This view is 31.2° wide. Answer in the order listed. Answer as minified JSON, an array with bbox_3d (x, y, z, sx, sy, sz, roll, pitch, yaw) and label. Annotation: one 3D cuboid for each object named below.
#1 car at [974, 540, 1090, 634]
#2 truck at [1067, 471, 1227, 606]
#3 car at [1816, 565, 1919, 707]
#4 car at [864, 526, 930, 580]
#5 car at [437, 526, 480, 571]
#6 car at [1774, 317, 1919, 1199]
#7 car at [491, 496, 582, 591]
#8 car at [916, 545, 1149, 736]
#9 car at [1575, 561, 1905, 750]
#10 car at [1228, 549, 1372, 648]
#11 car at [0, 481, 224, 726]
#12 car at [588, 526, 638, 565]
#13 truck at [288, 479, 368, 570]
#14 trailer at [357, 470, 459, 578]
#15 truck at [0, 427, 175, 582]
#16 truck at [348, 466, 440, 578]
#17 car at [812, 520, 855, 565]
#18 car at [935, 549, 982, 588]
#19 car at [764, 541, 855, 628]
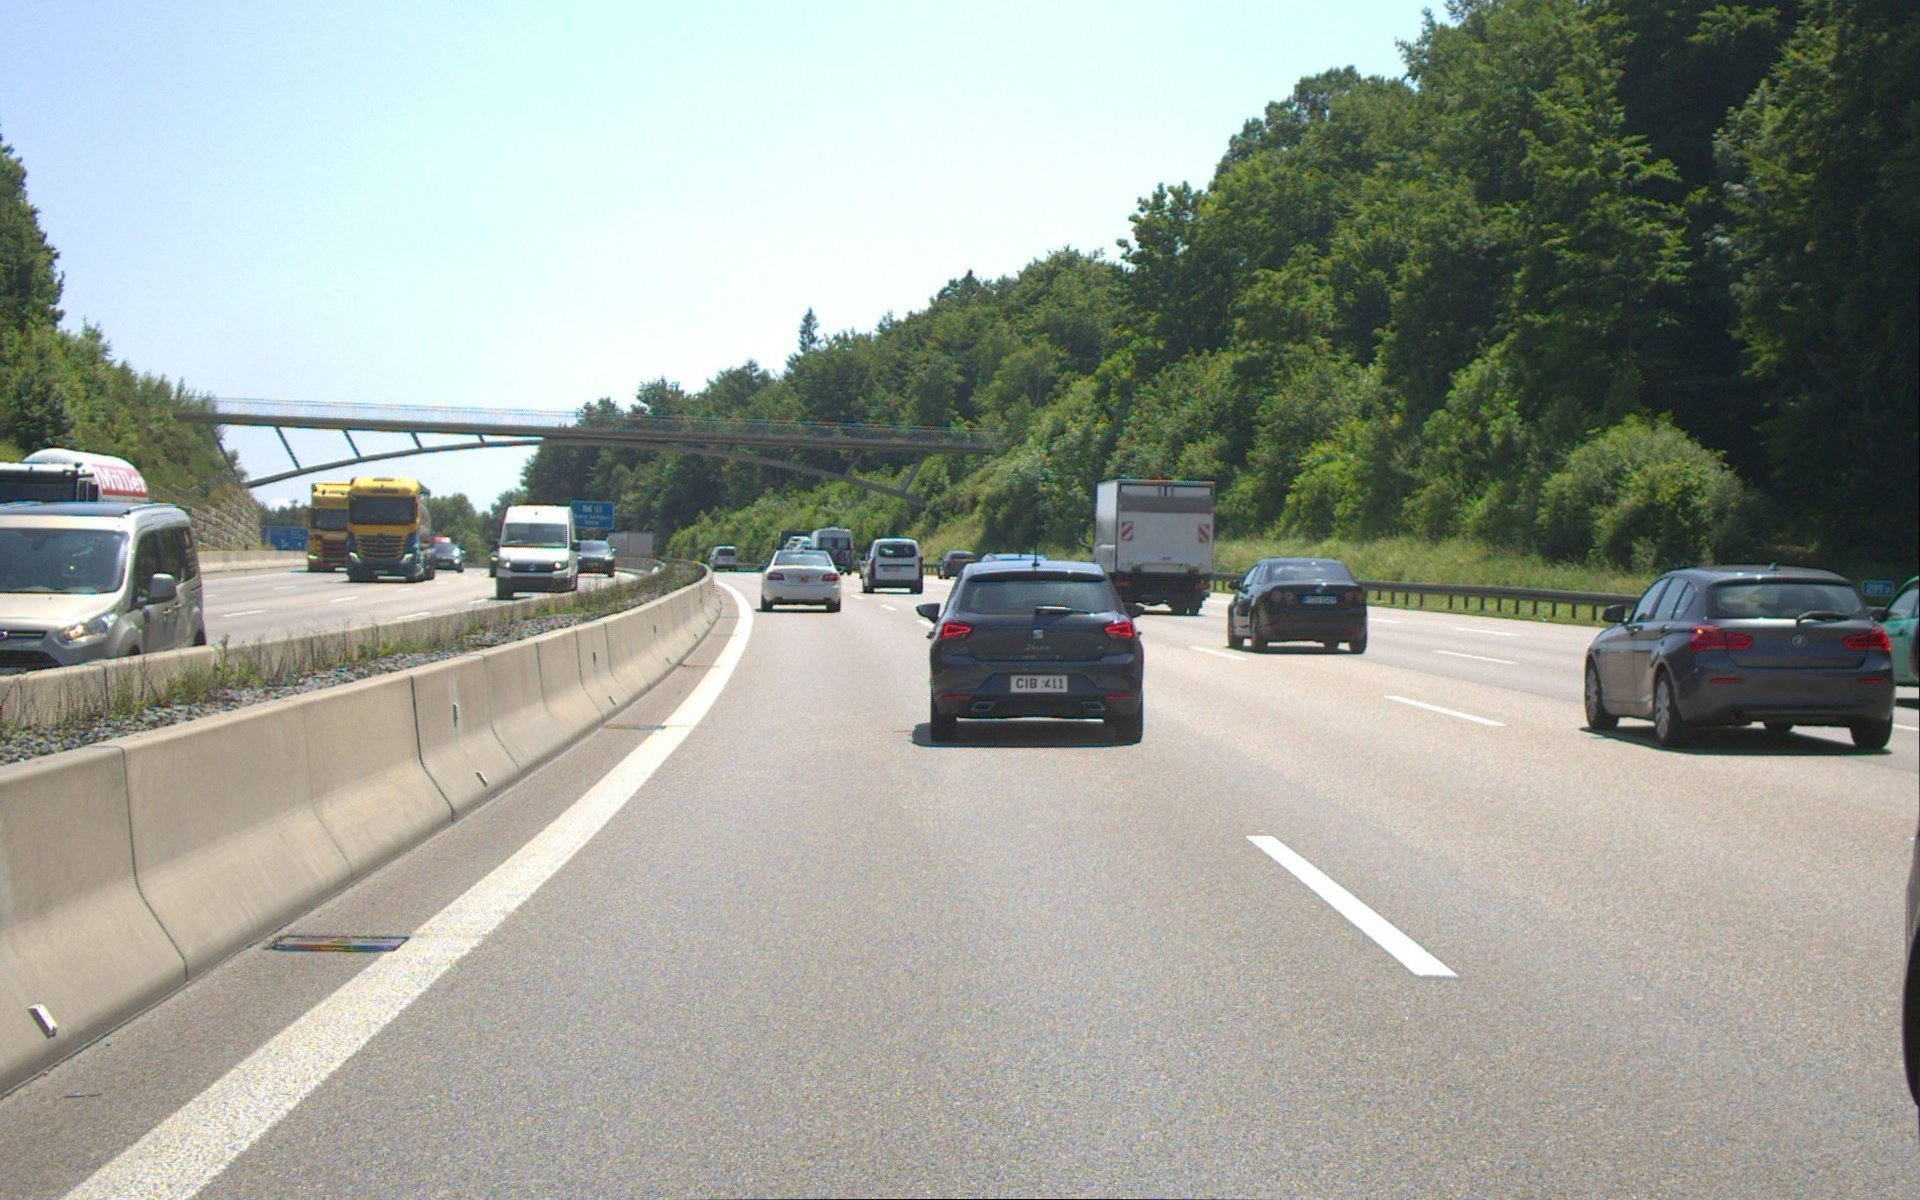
[{"bbox_3d":[1.369,-0.225,66.984,1.993,1.722,4.149,1,-1,-2],"label":"car"},{"bbox_3d":[4.569,-1.539,85.592,2.985,3.156,7.576,1,1,-4],"label":"truck"},{"bbox_3d":[10.480,0.382,36.388,1.544,1.439,4.341,2,0,-2],"label":"car"},{"bbox_3d":[-2.110,-1.585,114.490,2.103,1.738,4.688,1,1,-1],"label":"car"},{"bbox_3d":[-24.648,-2.518,168.972,1.643,2.007,4.000,2,-1,-3],"label":"car"},{"bbox_3d":[3.004,0.459,5.703,1.962,2.026,5.084,1,1,-1],"label":"car"},{"bbox_3d":[-11.413,-1.519,92.957,2.154,2.481,4.703,1,1,-4],"label":"car"},{"bbox_3d":[0.533,0.284,28.478,1.708,1.428,4.000,1,1,-1],"label":"car"},{"bbox_3d":[6.267,0.397,28.048,1.702,1.391,4.154,1,1,0],"label":"car"},{"bbox_3d":[5.222,-0.057,53.300,1.665,1.403,4.903,1,1,-1],"label":"car"},{"bbox_3d":[-7.468,-0.016,28.604,1.819,1.865,4.589,1,1,-2],"label":"car"},{"bbox_3d":[-15.606,-2.455,154.789,1.993,1.699,4.954,1,1,-3],"label":"car"},{"bbox_3d":[-28.807,-3.424,156.946,2.750,4.004,6.753,1,1,-4],"label":"truck"},{"bbox_3d":[-20.773,-2.848,129.901,2.538,3.867,11.697,1,1,-3],"label":"trailer"},{"bbox_3d":[-21.345,-2.227,83.275,2.609,3.454,9.883,2,0,-2],"label":"truck"},{"bbox_3d":[-20.483,-2.807,124.704,2.530,3.926,6.802,1,1,-3],"label":"truck"},{"bbox_3d":[-6.929,-3.148,188.214,2.265,2.363,4.702,1,0,-2],"label":"car"},{"bbox_3d":[-0.070,-1.563,169.281,2.145,1.851,4.000,2,1,-2],"label":"car"},{"bbox_3d":[-3.534,-0.337,81.352,2.012,1.839,4.000,1,-2,-1],"label":"car"}]
